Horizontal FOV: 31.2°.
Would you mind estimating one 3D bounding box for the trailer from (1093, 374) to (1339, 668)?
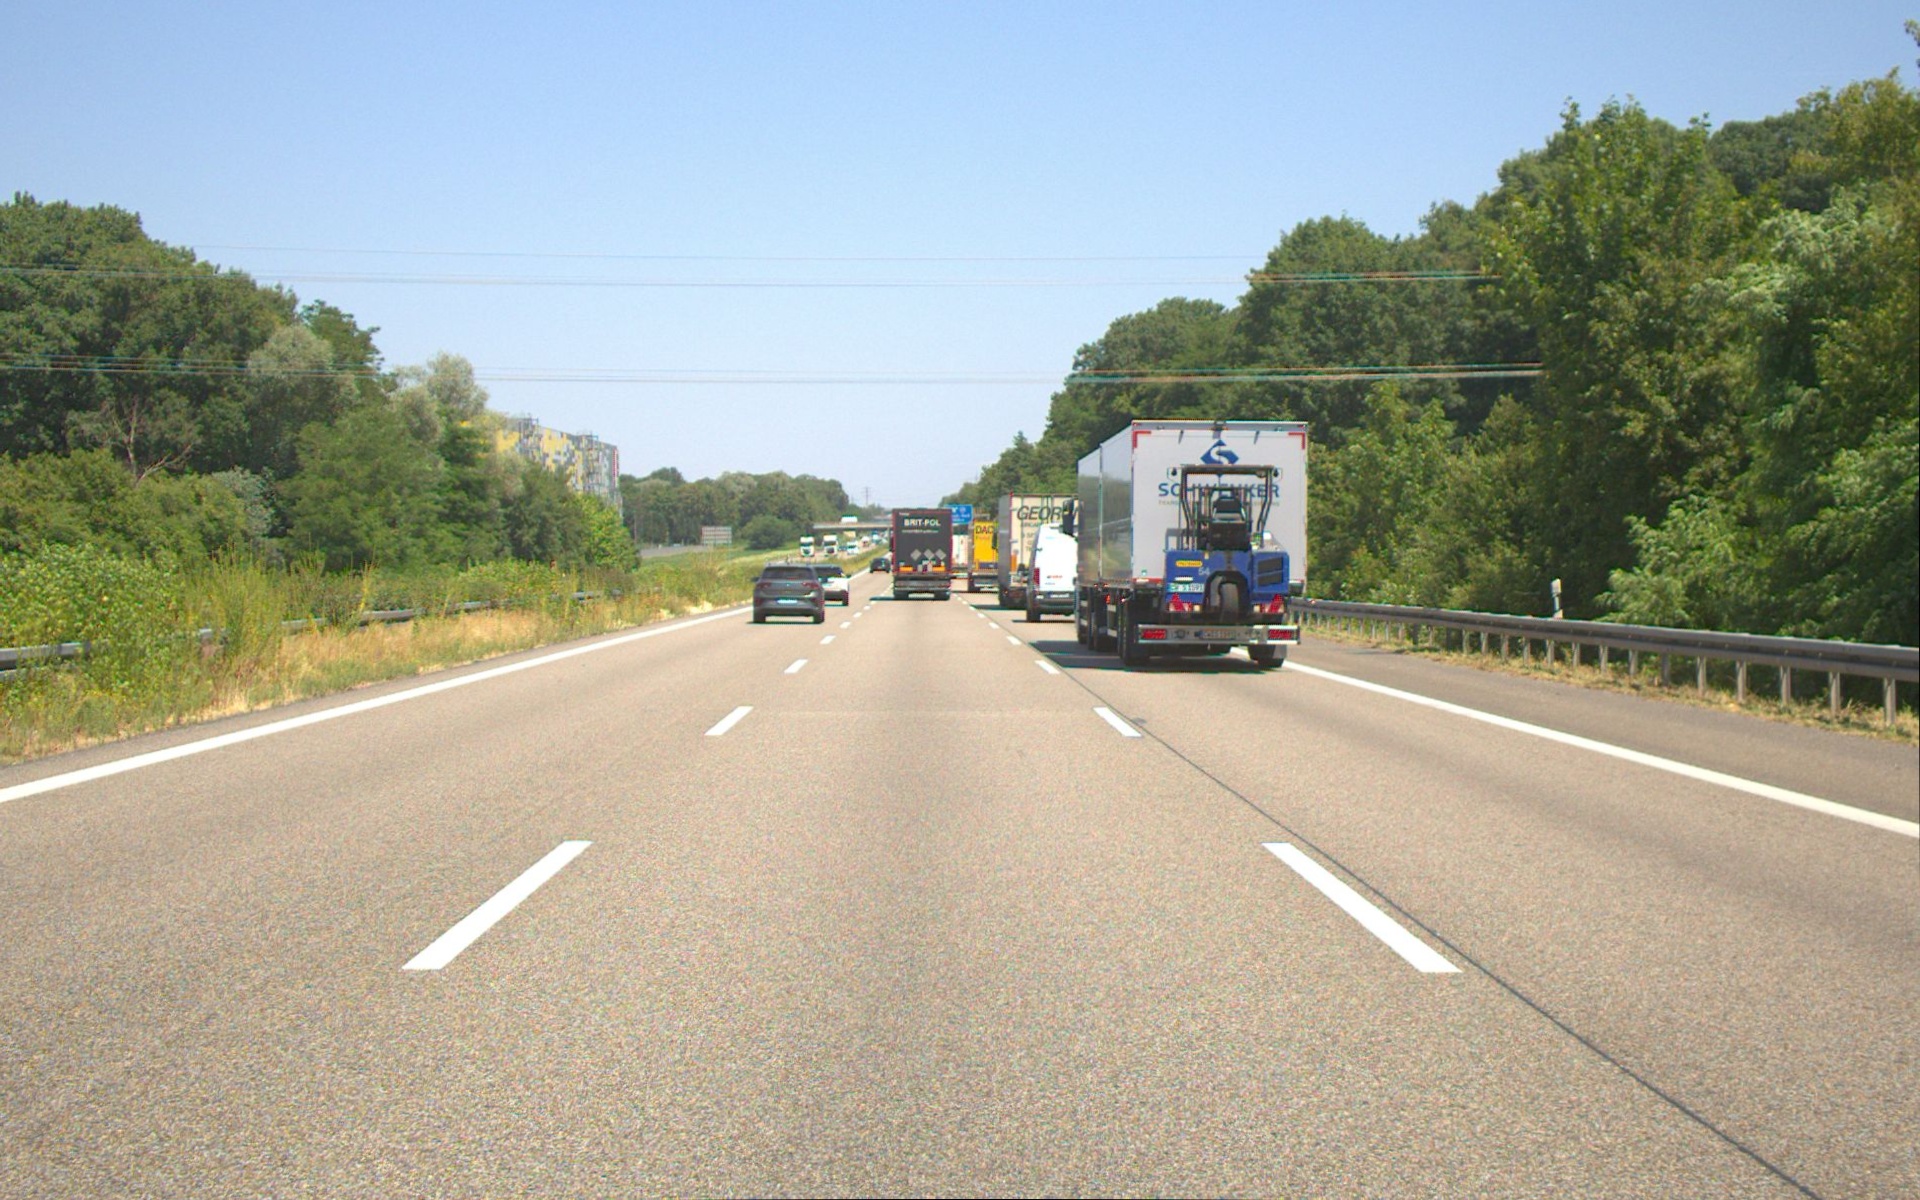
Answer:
[{"bbox_3d":[3.713,-1.141,51.821,2.945,4.049,8.128,1,1,-1],"label":"trailer"}]

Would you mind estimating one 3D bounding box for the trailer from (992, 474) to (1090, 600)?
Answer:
[{"bbox_3d":[2.815,-2.245,123.847,2.993,4.274,13.419,1,1,-1],"label":"trailer"}]

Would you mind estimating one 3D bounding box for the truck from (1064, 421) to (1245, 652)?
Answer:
[{"bbox_3d":[3.519,-1.155,63.799,2.889,4.016,6.870,1,1,0],"label":"truck"}]

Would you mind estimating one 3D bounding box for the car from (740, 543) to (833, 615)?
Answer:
[{"bbox_3d":[-4.499,-0.576,89.710,2.216,1.784,5.393,-1,1,-1],"label":"car"}]

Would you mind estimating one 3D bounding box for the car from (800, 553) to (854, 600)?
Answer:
[{"bbox_3d":[-4.980,-0.915,129.300,1.993,1.722,4.131,0,1,-1],"label":"car"}]

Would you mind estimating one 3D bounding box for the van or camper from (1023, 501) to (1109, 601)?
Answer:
[{"bbox_3d":[2.876,-1.335,94.464,2.022,2.628,6.487,1,1,-1],"label":"van or camper"}]

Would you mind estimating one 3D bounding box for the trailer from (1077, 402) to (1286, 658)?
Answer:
[{"bbox_3d":[3.641,-1.145,58.239,2.920,4.027,7.317,1,1,-1],"label":"trailer"}]

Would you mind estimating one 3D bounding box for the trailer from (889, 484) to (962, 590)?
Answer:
[{"bbox_3d":[-1.627,-2.769,154.292,3.106,4.491,14.897,1,1,-1],"label":"trailer"}]

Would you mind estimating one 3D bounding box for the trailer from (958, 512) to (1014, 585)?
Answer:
[{"bbox_3d":[1.418,-2.903,191.451,2.834,3.940,11.685,0,1,-1],"label":"trailer"}]

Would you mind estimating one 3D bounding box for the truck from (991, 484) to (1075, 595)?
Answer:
[{"bbox_3d":[2.736,-2.272,130.711,3.002,4.110,5.253,0,0,-1],"label":"truck"}]
